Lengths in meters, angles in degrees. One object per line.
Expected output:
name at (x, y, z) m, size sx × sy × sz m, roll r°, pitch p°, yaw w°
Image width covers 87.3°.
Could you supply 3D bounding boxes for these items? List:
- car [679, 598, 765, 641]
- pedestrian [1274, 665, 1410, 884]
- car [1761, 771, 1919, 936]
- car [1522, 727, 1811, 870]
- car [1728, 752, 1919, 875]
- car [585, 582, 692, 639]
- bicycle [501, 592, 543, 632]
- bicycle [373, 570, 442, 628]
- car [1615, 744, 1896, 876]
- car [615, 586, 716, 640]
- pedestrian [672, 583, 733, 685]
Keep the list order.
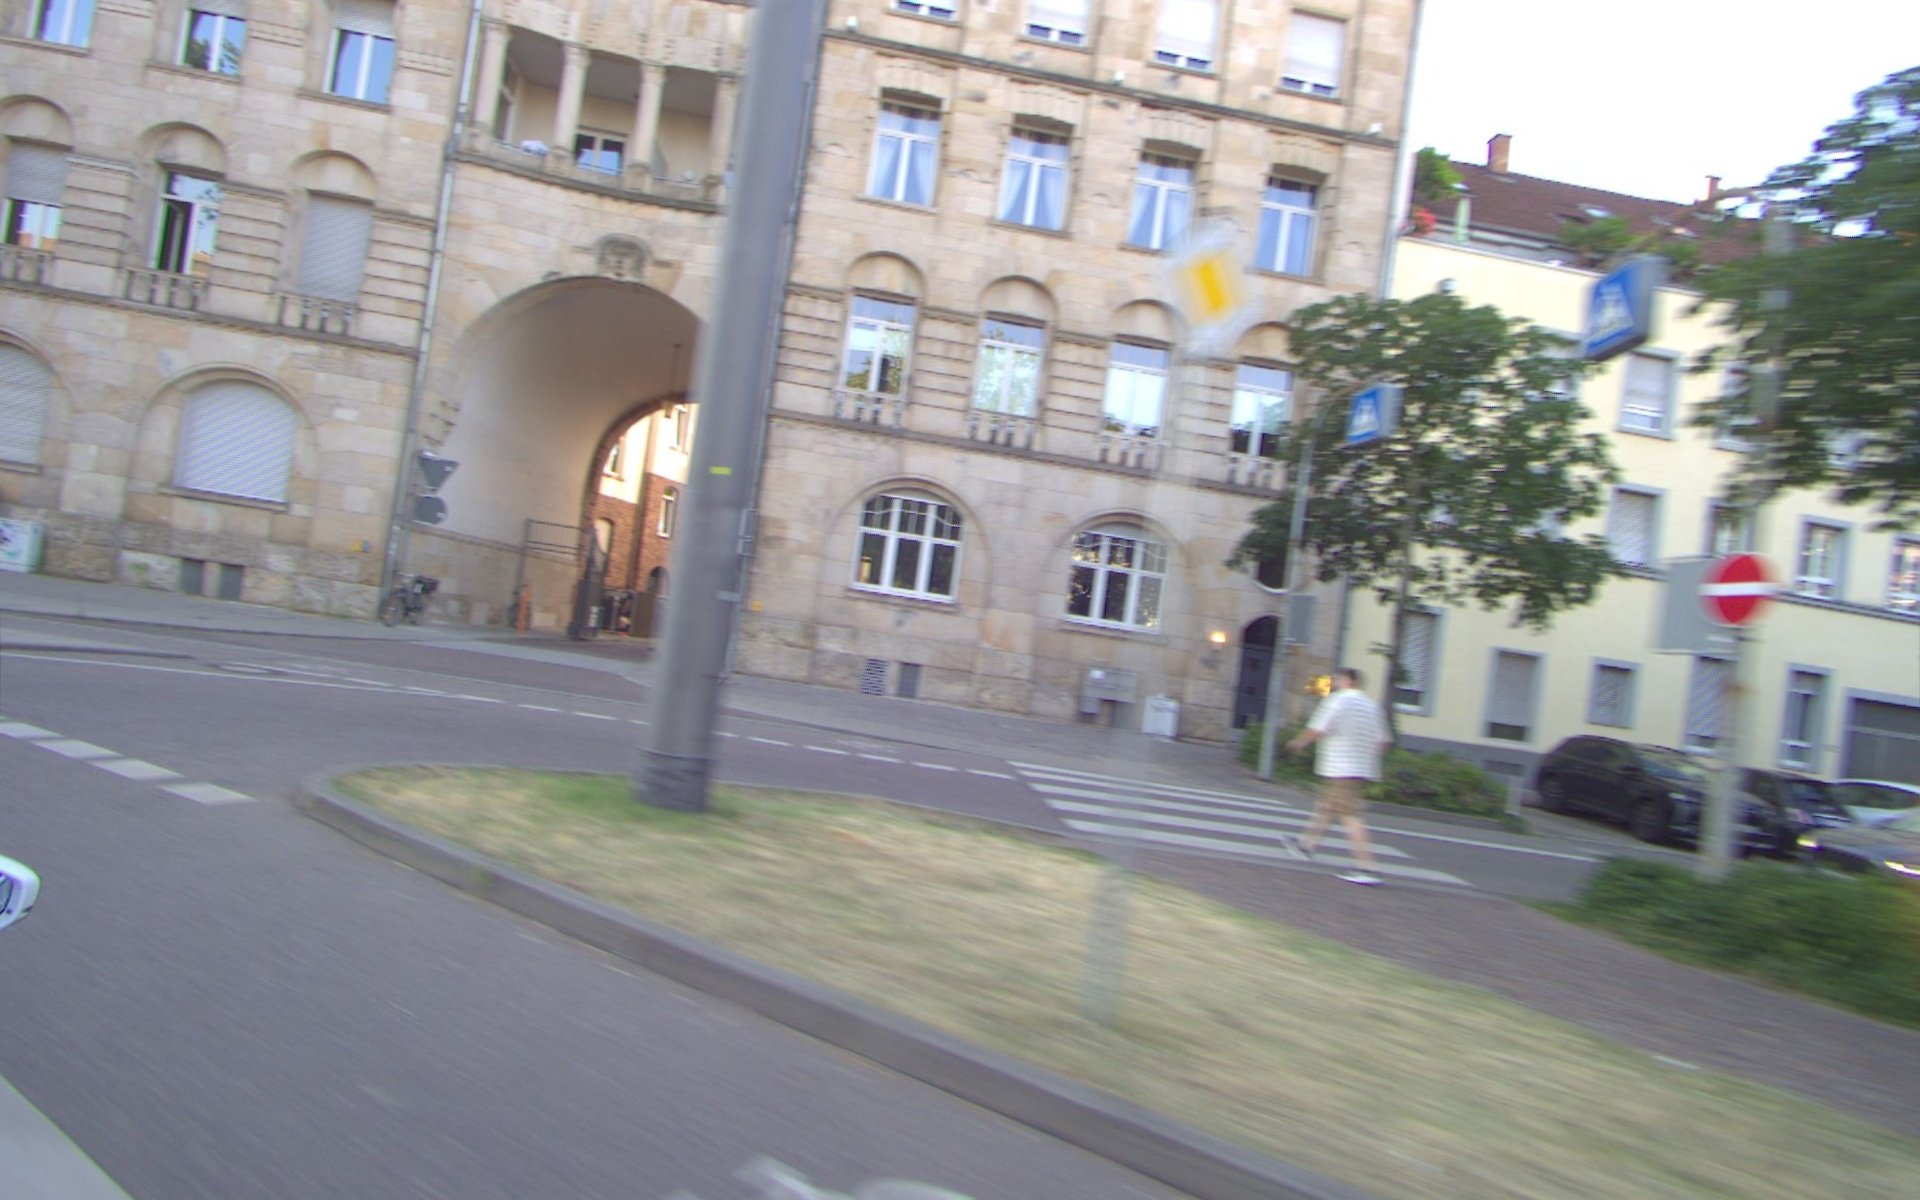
car at (-11.637, 0.977, 49.203) m, size 3.617 × 1.462 × 1.627 m, roll 9°, pitch -1°, yaw 17°
pedestrian at (3.477, 1.563, 9.217) m, size 0.806 × 1.812 × 0.593 m, roll 9°, pitch -1°, yaw 6°
car at (12.261, 3.213, 11.994) m, size 4.066 × 1.499 × 1.819 m, roll 10°, pitch -1°, yaw -7°
car at (12.561, 3.470, 18.322) m, size 1.805 × 1.575 × 4.399 m, roll 9°, pitch -2°, yaw -3°
car at (17.137, 4.065, 19.020) m, size 1.805 × 1.587 × 4.069 m, roll 9°, pitch -2°, yaw -2°
car at (-12.792, 0.424, 40.080) m, size 3.617 × 1.613 × 1.627 m, roll 9°, pitch -1°, yaw 17°
bicycle at (-11.701, 0.332, 26.901) m, size 0.473 × 0.966 × 1.512 m, roll 9°, pitch -1°, yaw -6°
bicycle at (-11.415, 0.000, 20.851) m, size 0.422 × 1.085 × 1.855 m, roll 9°, pitch -1°, yaw -6°
car at (14.876, 3.869, 19.165) m, size 1.805 × 1.502 × 4.068 m, roll 9°, pitch -2°, yaw -3°
car at (-12.397, 0.555, 42.409) m, size 3.617 × 1.613 × 1.627 m, roll 9°, pitch -1°, yaw 17°
pedestrian at (-4.674, 0.617, 18.300) m, size 0.708 × 1.729 × 0.577 m, roll 9°, pitch -1°, yaw -1°
